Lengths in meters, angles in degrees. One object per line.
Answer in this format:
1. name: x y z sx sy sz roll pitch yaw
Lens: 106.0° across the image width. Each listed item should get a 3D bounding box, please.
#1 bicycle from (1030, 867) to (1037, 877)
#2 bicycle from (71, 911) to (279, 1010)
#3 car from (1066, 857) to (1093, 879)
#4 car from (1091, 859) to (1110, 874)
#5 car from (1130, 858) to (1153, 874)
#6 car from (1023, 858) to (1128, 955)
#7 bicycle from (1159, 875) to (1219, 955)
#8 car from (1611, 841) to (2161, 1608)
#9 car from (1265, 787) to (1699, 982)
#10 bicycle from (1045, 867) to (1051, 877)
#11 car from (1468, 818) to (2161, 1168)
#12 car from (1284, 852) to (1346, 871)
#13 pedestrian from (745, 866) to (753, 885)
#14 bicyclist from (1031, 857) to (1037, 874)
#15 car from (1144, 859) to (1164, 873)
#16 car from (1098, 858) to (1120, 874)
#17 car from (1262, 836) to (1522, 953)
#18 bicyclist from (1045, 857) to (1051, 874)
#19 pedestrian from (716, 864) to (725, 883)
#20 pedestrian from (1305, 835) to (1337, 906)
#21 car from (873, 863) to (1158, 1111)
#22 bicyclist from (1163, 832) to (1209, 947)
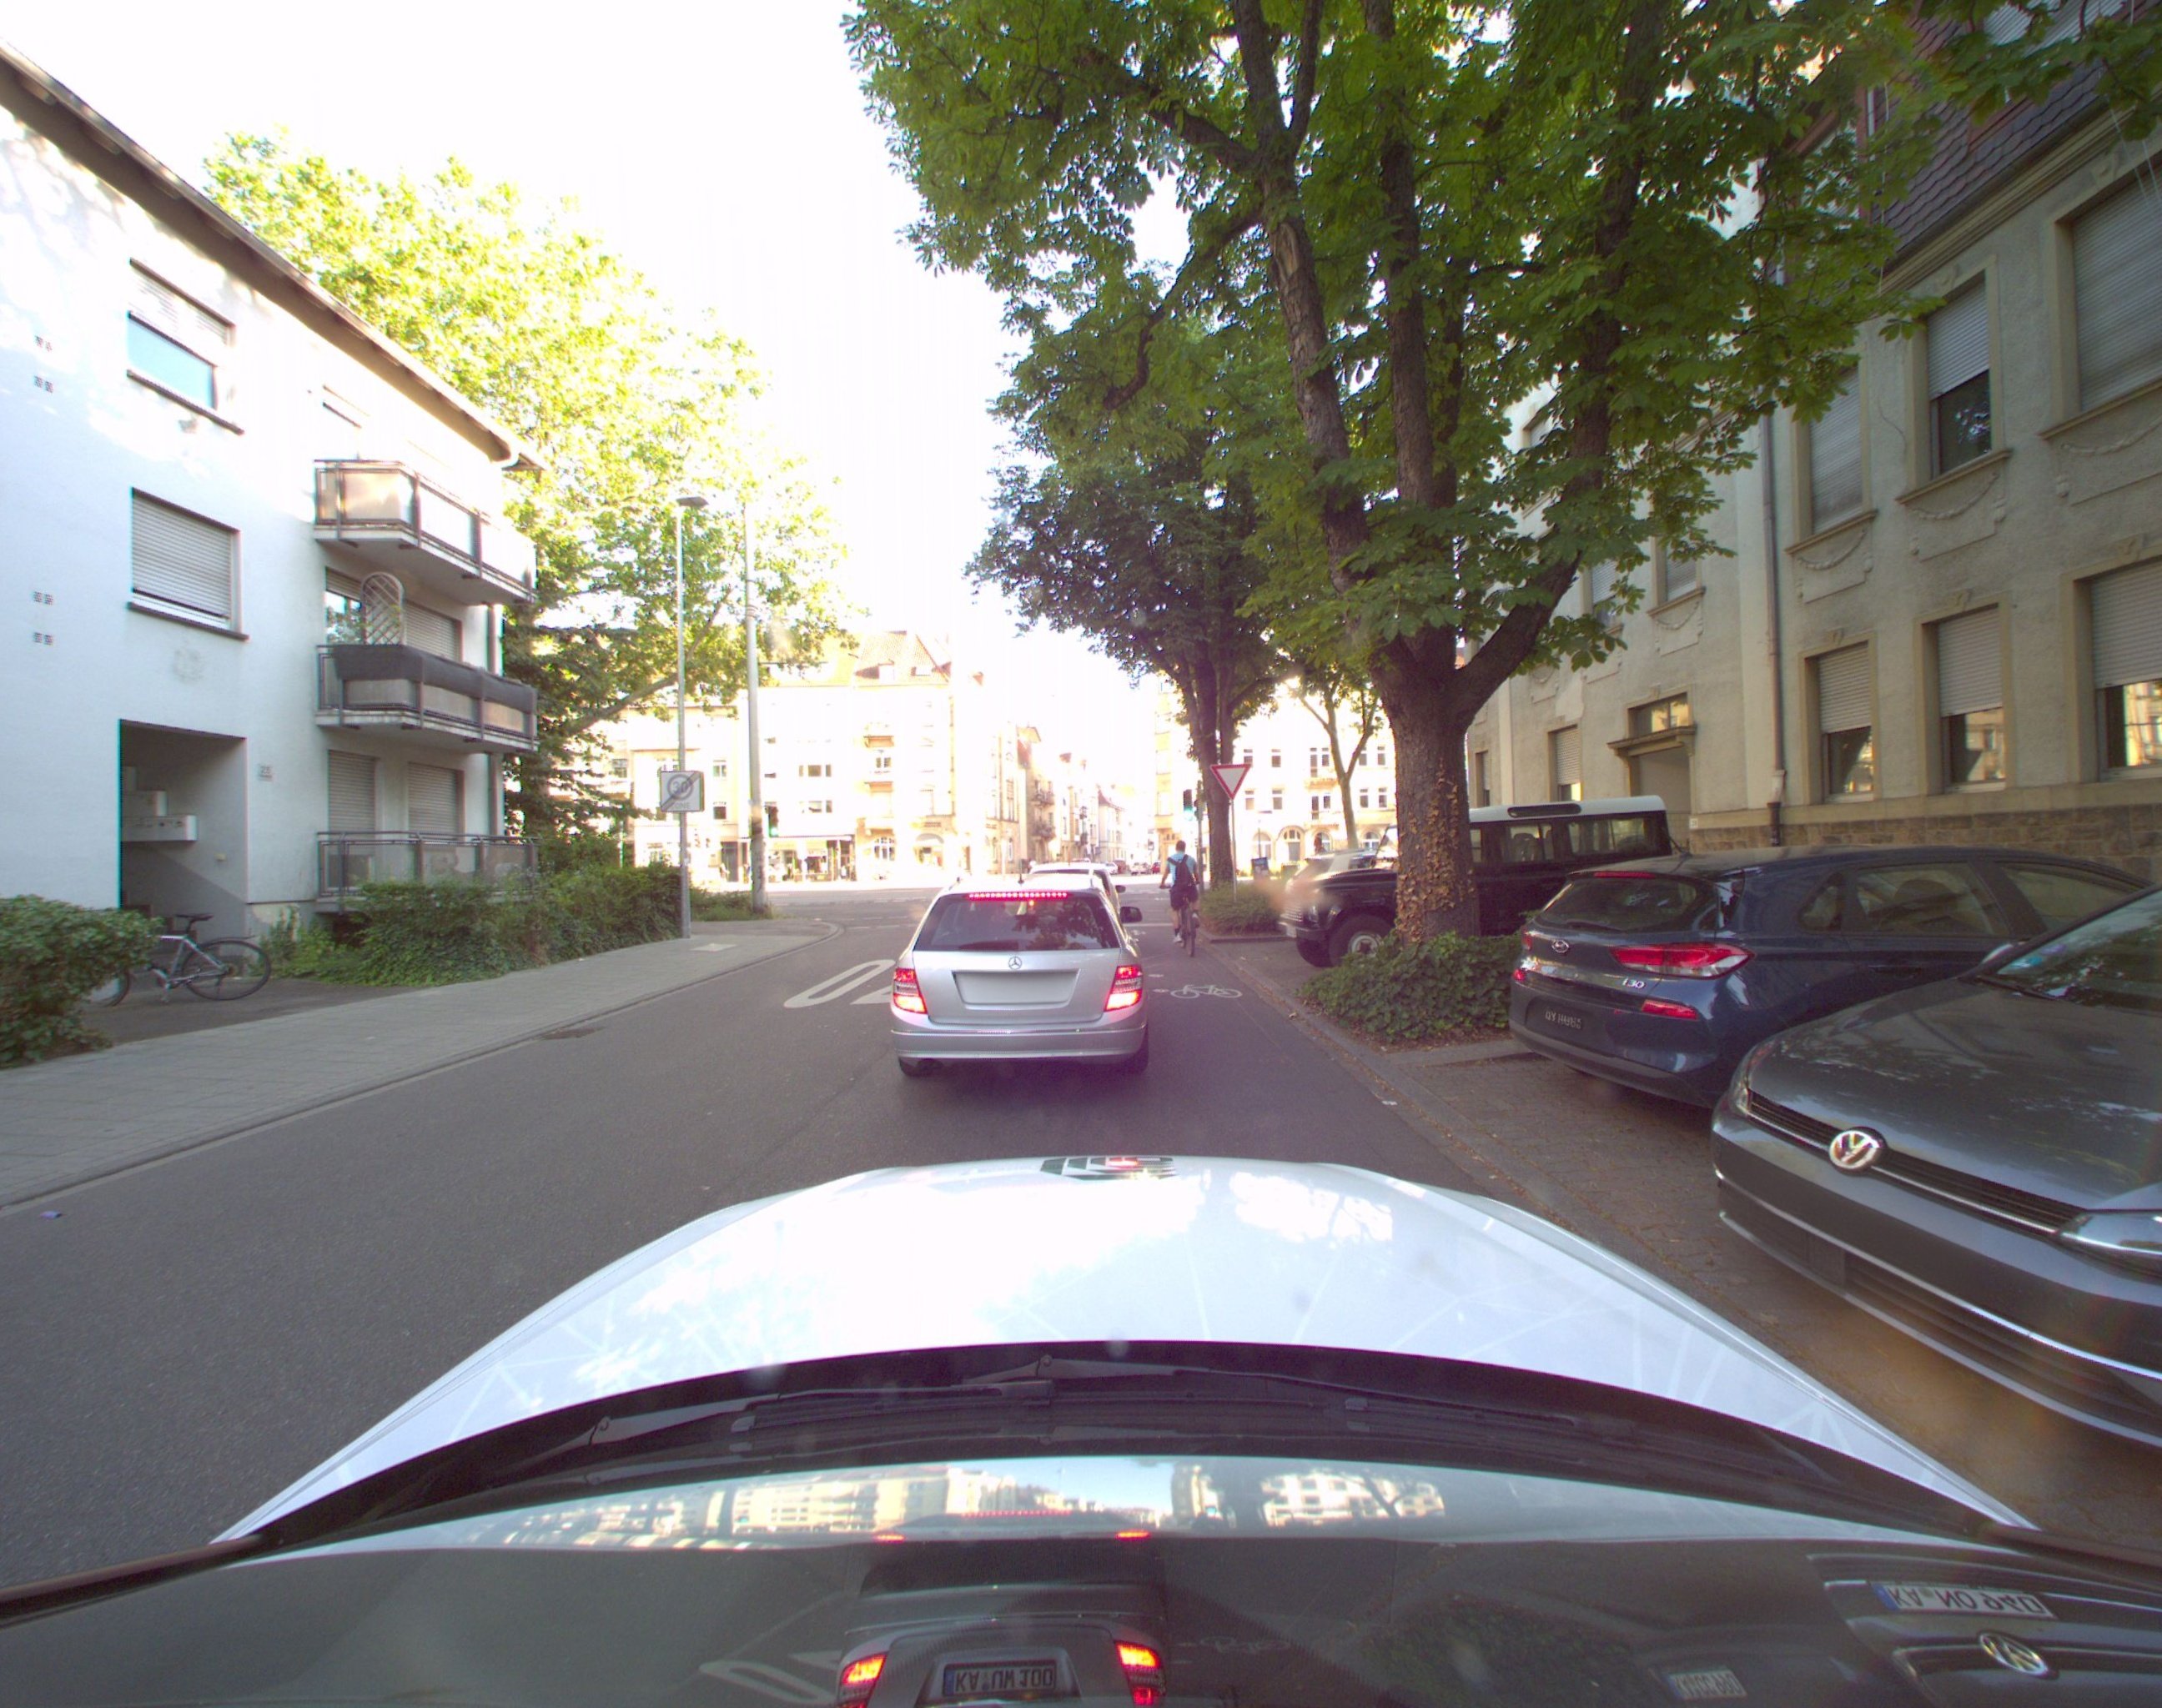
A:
1. bicycle: -4.253 1.626 73.398 0.567 0.834 1.564 -1 0 -1
2. bicycle: -10.008 1.149 9.069 1.469 0.975 0.402 2 -2 -38
3. car: -0.139 1.338 79.789 1.926 1.958 4.161 -2 0 10
4. car: 2.512 1.546 102.506 1.639 1.783 3.876 -1 -1 13
5. car: 6.420 1.240 85.898 1.708 1.478 4.016 -3 0 14
6. car: -0.075 0.780 13.811 1.528 1.391 3.599 -1 0 0
7. bicycle: 1.685 0.930 13.006 0.739 1.118 2.014 0 0 2
8. car: 4.069 0.654 2.313 4.037 1.422 1.627 -3 -1 -2
9. car: 4.789 0.343 10.182 4.478 1.956 1.792 -3 0 -1
10. bicycle: -2.990 1.592 73.679 0.567 0.834 1.564 -1 0 -1
11. car: 4.432 0.606 4.532 3.739 1.422 1.627 -3 -1 -2
12. car: 14.192 0.471 49.506 3.352 1.069 1.380 -2 0 0
13. pedestrian: -26.519 1.698 65.050 0.510 1.511 0.533 -1 0 -22
14. bicyclist: -4.259 1.044 73.561 0.465 1.514 0.655 -1 0 -2
15. car: 9.162 1.476 102.032 1.709 1.478 4.016 -6 -1 14
16. car: 3.228 1.375 93.522 1.675 1.722 4.014 -2 0 13
17. car: 4.891 0.609 13.095 3.475 1.586 1.708 -3 0 -5
18. bicyclist: -3.006 1.024 73.687 0.465 1.521 0.693 -1 0 -2
19. pedestrian: -28.282 1.516 63.941 0.566 1.511 0.499 -1 0 -17
20. pedestrian: 6.375 0.431 21.626 0.630 1.845 0.574 -1 0 -2
21. car: -0.404 0.804 6.582 1.685 1.429 3.491 0 0 -1
22. bicyclist: 1.665 0.551 13.031 0.644 1.775 0.831 0 -1 1
